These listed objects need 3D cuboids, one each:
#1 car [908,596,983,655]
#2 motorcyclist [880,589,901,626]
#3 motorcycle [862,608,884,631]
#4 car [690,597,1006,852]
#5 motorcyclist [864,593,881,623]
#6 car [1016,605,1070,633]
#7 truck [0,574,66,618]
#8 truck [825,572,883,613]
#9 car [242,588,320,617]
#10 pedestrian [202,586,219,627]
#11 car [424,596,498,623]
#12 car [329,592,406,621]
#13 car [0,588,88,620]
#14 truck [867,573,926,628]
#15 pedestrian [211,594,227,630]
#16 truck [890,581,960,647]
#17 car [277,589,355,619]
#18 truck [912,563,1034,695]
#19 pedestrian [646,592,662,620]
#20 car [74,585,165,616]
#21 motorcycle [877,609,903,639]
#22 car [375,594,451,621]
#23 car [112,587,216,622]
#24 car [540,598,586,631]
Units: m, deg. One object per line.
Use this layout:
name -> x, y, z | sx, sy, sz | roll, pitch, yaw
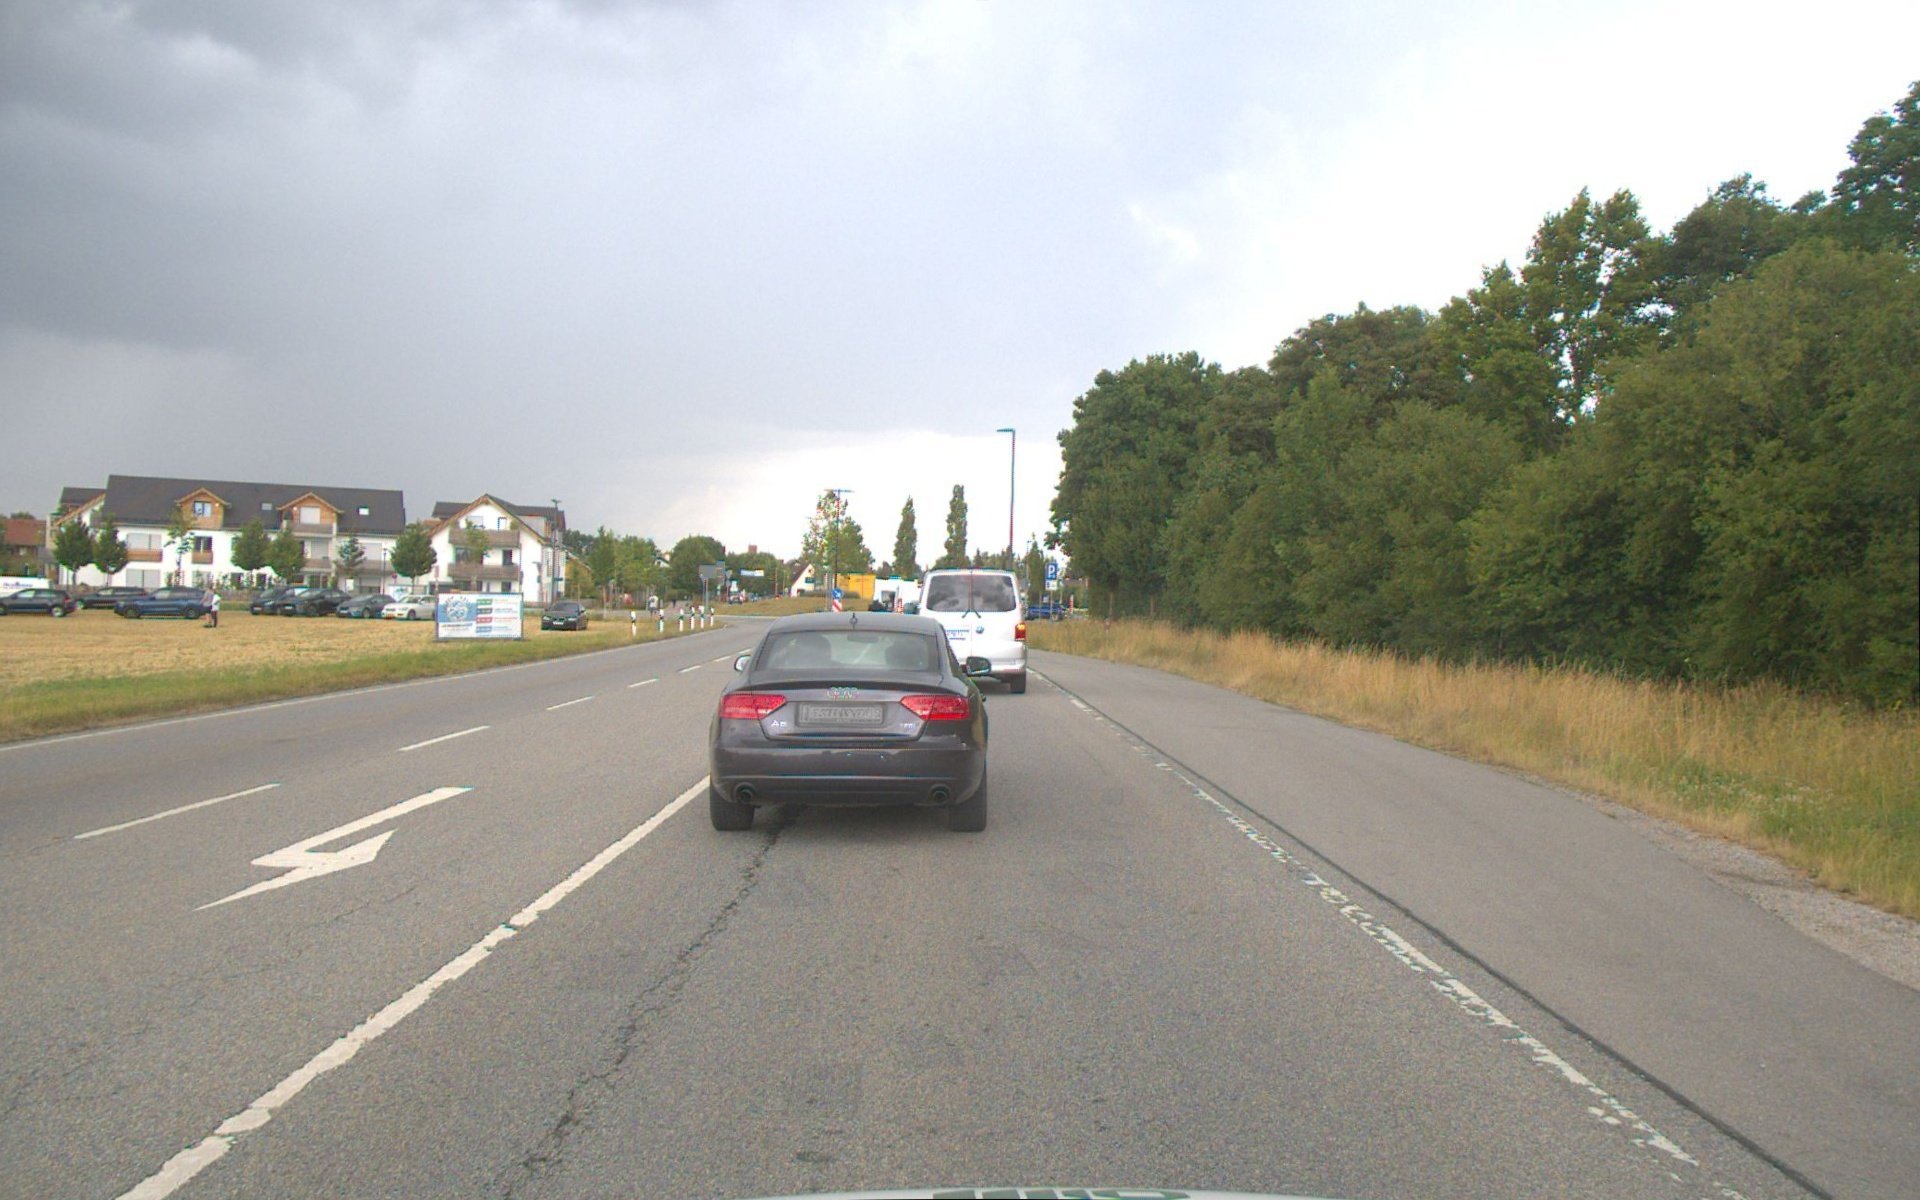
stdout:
car -> -0.409, 0.686, 45.558 | 1.953, 1.511, 3.999 | 1, 0, -1
motorcyclist -> -2.694, 0.286, 63.964 | 0.756, 1.407, 0.820 | 1, 0, -1
motorcycle -> -4.094, 0.916, 77.644 | 0.925, 1.037, 2.283 | 1, 0, -1
car -> -0.676, 0.733, 11.781 | 1.837, 1.479, 4.176 | 1, 0, -1
motorcyclist -> -4.100, 0.373, 77.657 | 0.769, 1.380, 0.853 | 1, 0, -1
car -> 6.629, 1.531, 132.072 | 3.904, 2.049, 2.000 | 2, 0, 20
truck -> -50.358, -0.229, 87.056 | 5.490, 2.235, 2.588 | 1, 0, -24
truck -> -9.885, -0.726, 153.083 | 3.516, 3.641, 9.919 | 2, 0, -14
car -> -39.614, 0.156, 96.577 | 1.952, 1.657, 4.213 | 1, 0, 18
pedestrian -> -33.631, 0.306, 74.243 | 0.538, 1.817, 0.676 | 1, 0, -12
car -> -28.074, 0.541, 93.232 | 1.952, 1.471, 4.213 | 1, 0, 18
car -> -33.622, 0.371, 94.002 | 1.952, 1.562, 4.213 | 1, 0, 18
car -> -46.893, 0.179, 84.256 | 4.095, 1.545, 1.988 | 1, 0, -21
truck -> -3.457, 0.023, 88.751 | 2.576, 2.785, 5.858 | 2, 0, -7
pedestrian -> -33.738, 0.547, 75.278 | 0.580, 1.583, 0.622 | 1, -1, -19
truck -> -1.113, 0.452, 54.441 | 2.149, 2.049, 5.084 | 1, 0, 0
car -> -36.719, 0.233, 94.432 | 1.952, 1.657, 4.213 | 1, 0, 18
truck -> 0.194, 0.449, 28.201 | 1.865, 2.033, 4.628 | 1, 0, 0
pedestrian -> -18.056, 0.347, 97.687 | 0.686, 1.613, 0.658 | 1, -1, 16
car -> -49.753, 0.022, 98.001 | 4.558, 1.727, 1.988 | 1, 0, -21
motorcycle -> -2.698, 0.911, 63.952 | 0.901, 1.113, 2.188 | 1, 0, -1
car -> -30.915, 0.400, 93.605 | 1.952, 1.471, 4.213 | 1, 0, 18
car -> -41.549, 0.241, 86.462 | 4.647, 1.727, 1.988 | 1, 0, -21
car -> -19.401, 0.696, 80.945 | 1.958, 1.467, 3.989 | 1, 1, -11
